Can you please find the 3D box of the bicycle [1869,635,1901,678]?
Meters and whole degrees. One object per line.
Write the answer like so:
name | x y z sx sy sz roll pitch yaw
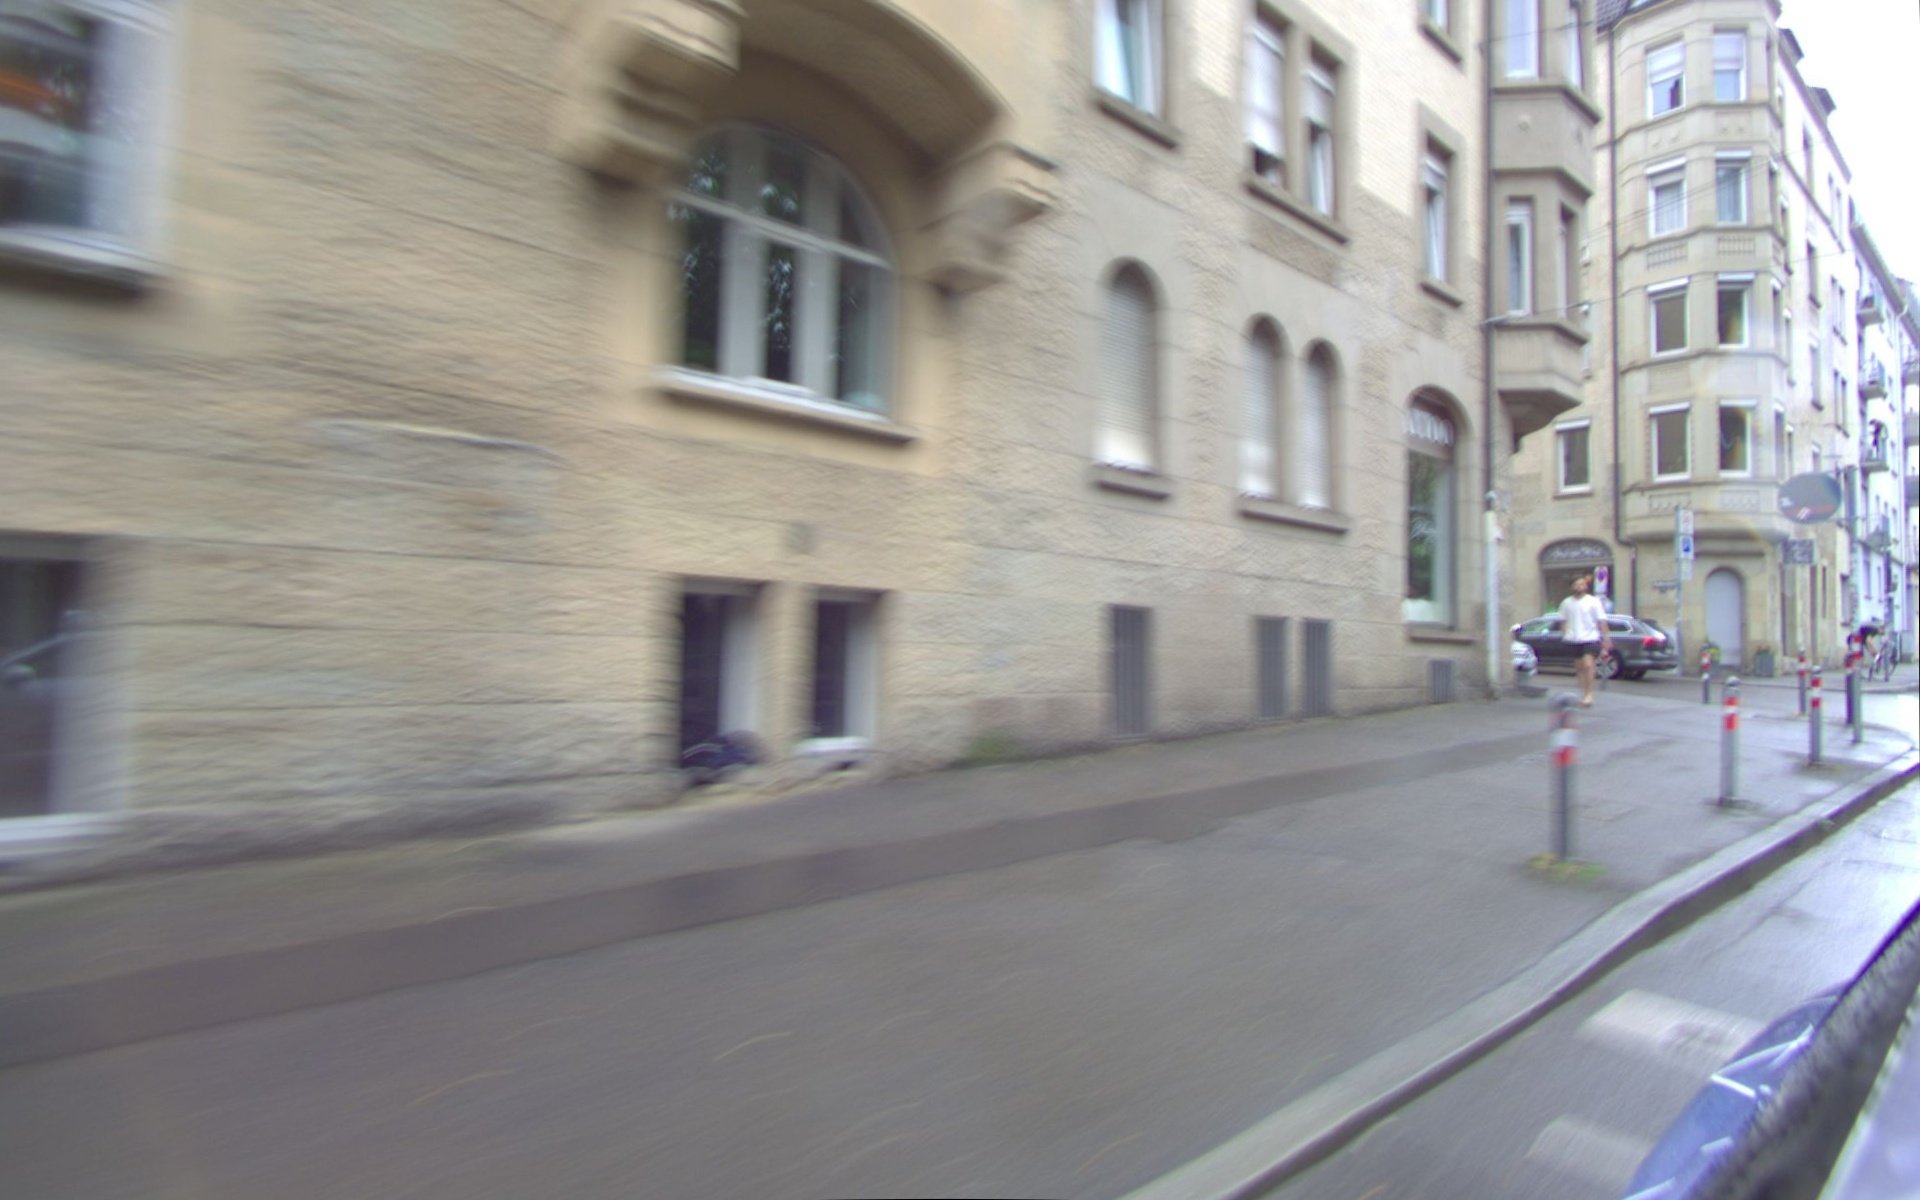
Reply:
bicycle | 23.080 1.423 25.246 1.645 1.027 0.339 4 -1 -40

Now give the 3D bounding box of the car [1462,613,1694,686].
car | 14.941 1.160 24.690 1.746 1.519 4.507 6 -4 -38

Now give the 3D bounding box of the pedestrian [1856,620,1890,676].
pedestrian | 22.805 1.196 25.281 0.504 1.388 0.401 0 -2 24

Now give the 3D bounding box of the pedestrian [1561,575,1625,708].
pedestrian | 8.694 0.565 13.898 0.564 1.775 0.579 4 -3 -40

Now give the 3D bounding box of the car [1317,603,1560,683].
car | 9.845 0.840 21.098 1.764 1.386 4.216 3 -1 -38
